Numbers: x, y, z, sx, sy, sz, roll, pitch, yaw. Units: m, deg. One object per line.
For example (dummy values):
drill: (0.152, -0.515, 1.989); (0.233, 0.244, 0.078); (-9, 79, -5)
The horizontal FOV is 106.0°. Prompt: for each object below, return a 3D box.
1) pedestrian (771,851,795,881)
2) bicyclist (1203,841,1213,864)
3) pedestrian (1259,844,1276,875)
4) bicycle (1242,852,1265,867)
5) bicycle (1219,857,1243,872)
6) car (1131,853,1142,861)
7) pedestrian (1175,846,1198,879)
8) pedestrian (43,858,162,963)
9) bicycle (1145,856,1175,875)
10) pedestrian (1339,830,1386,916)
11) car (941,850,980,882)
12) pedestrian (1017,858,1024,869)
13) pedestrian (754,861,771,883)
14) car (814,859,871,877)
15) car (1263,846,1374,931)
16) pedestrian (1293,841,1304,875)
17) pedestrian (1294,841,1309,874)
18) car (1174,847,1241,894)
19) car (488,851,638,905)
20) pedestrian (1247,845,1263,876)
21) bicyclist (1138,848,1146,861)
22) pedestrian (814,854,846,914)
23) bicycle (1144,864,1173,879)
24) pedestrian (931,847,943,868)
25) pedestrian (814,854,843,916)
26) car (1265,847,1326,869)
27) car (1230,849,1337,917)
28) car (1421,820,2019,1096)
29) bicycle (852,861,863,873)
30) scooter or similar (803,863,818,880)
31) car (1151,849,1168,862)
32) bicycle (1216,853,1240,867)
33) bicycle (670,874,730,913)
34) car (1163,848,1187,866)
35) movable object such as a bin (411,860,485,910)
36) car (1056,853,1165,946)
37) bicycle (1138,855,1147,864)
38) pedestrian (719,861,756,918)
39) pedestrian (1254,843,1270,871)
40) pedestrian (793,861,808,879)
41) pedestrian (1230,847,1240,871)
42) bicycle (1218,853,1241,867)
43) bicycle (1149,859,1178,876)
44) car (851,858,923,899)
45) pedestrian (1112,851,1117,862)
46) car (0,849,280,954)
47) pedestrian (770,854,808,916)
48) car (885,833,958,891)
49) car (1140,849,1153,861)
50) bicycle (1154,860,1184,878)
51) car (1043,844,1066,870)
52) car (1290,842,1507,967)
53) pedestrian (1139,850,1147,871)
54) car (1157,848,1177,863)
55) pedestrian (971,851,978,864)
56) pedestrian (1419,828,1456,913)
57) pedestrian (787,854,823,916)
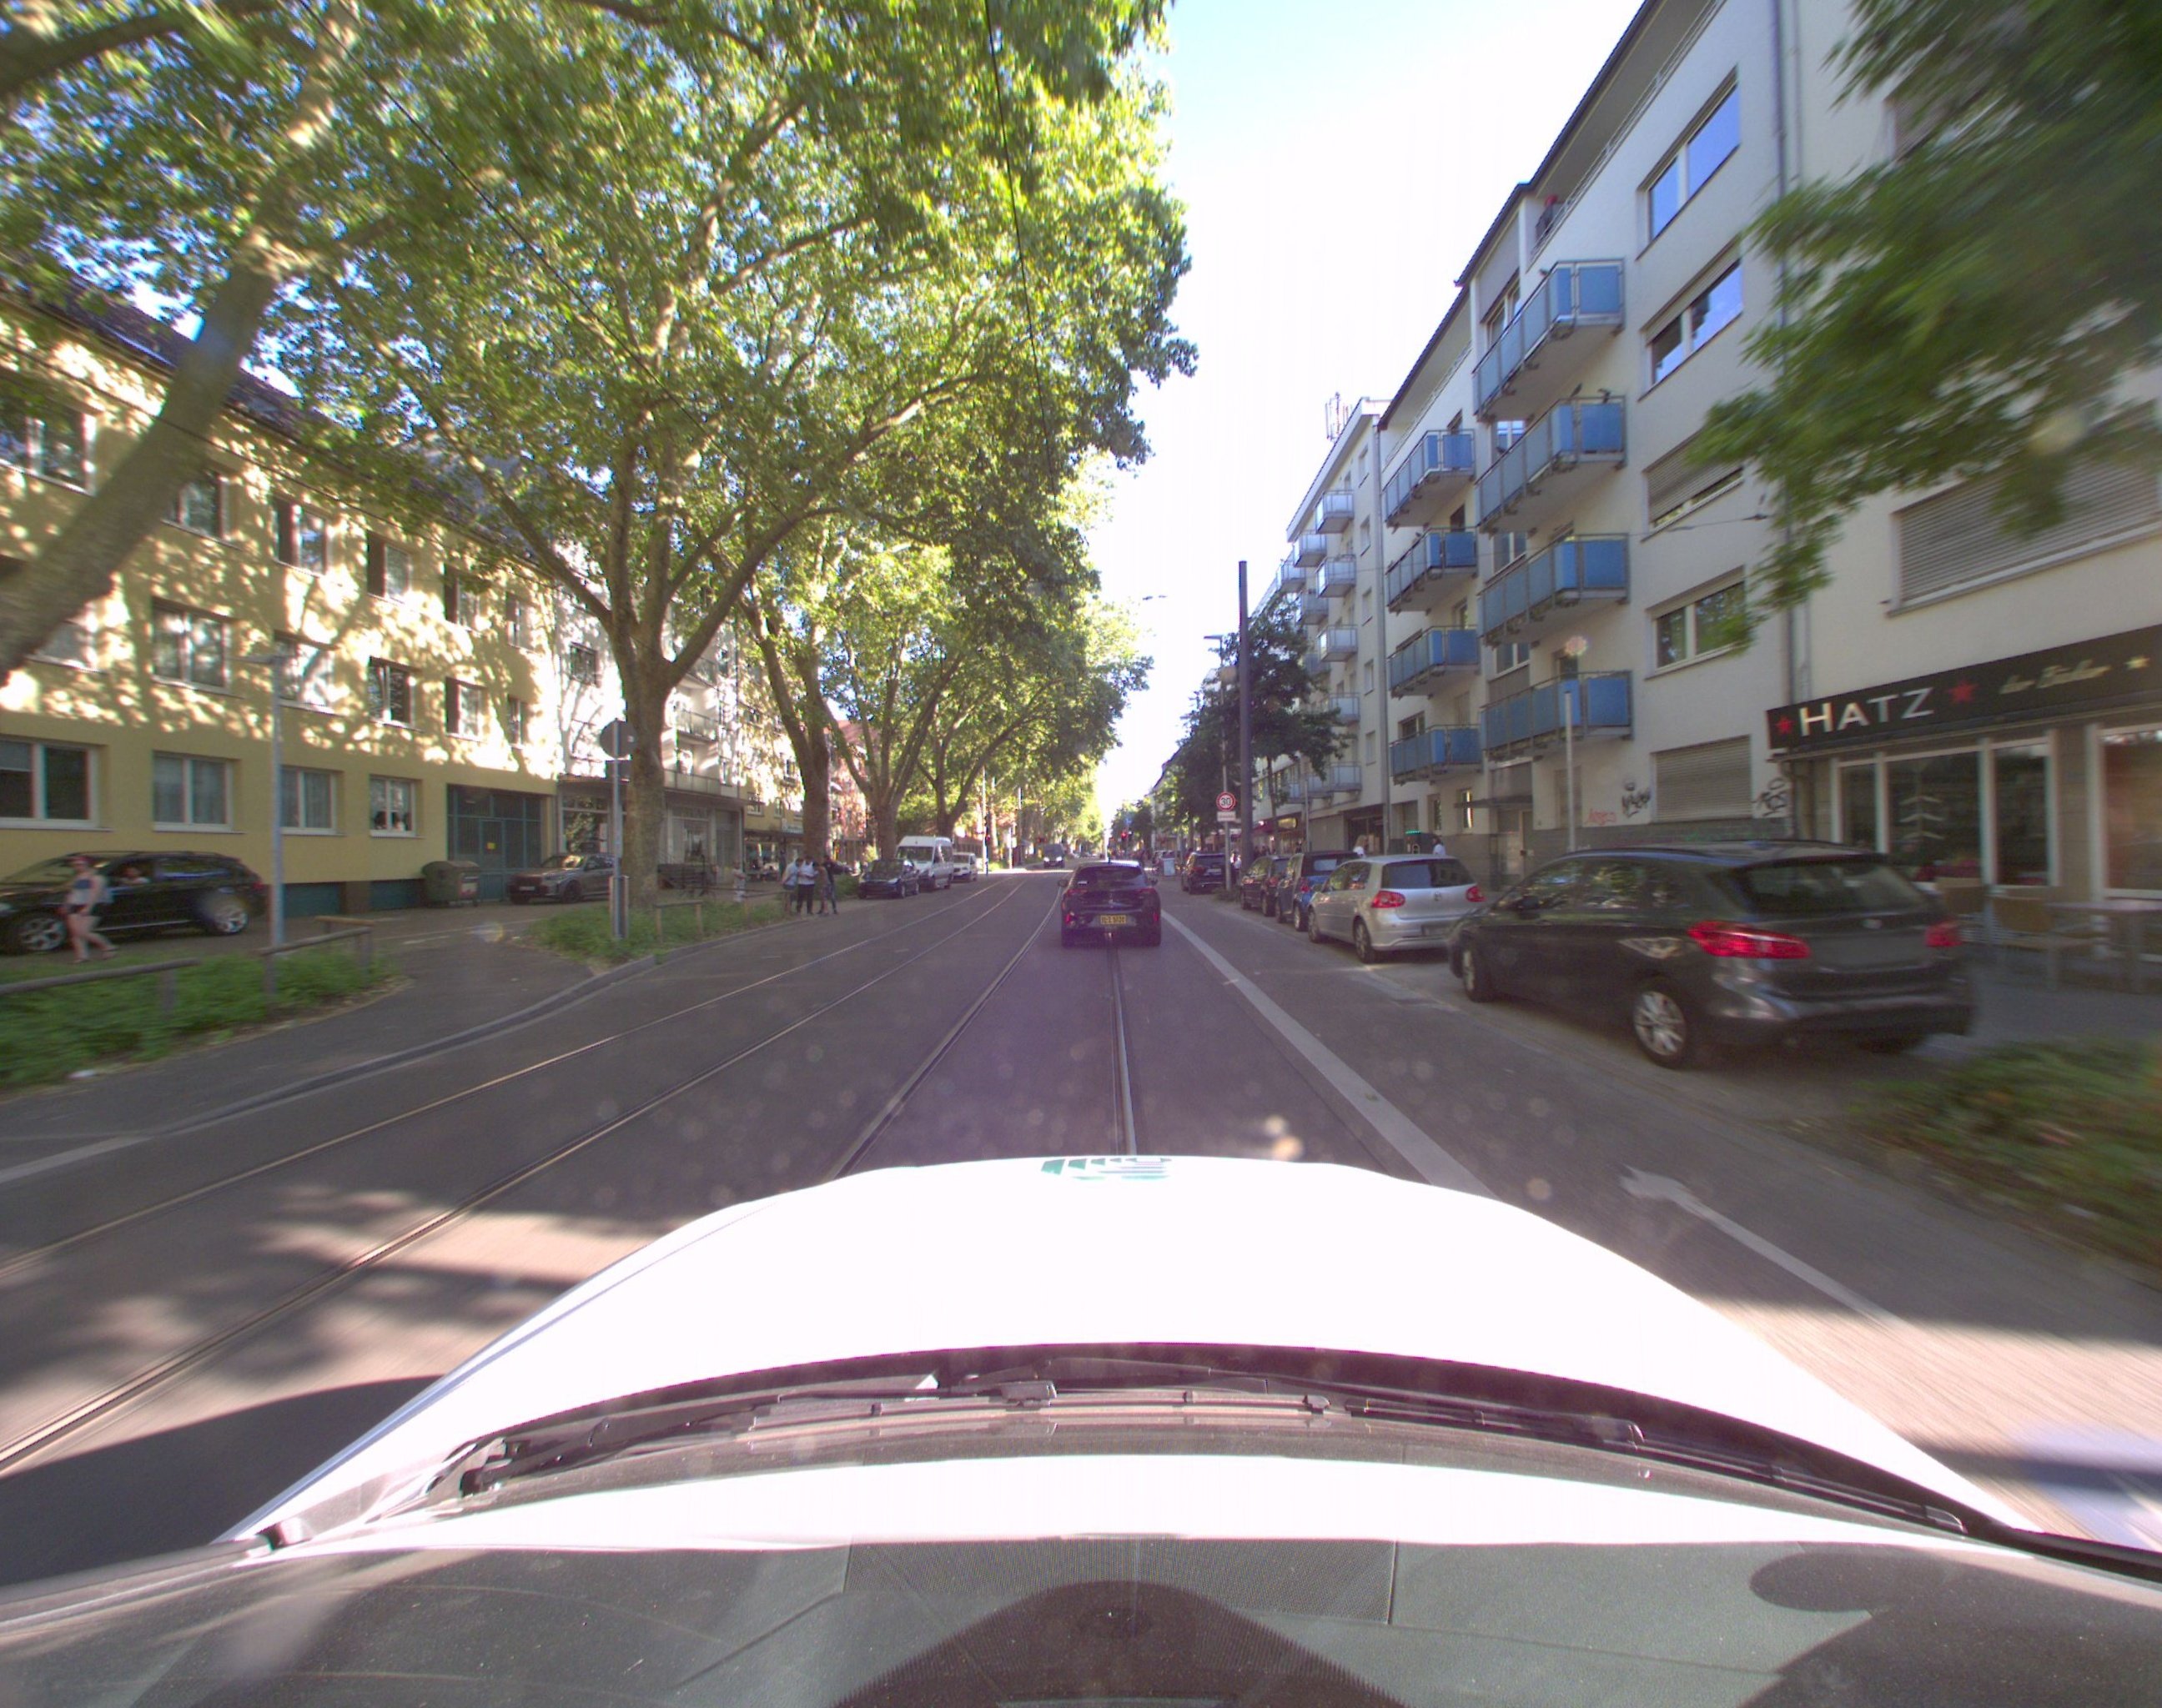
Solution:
pedestrian: (-18.581, 0.766, 50.847); (1.104, 1.864, 1.058); (0, -1, -2)
bicyclist: (9.840, -0.103, 63.165); (0.674, 1.717, 0.966); (0, -1, 3)
pedestrian: (10.248, 0.309, 44.776); (0.594, 1.678, 0.934); (-3, -1, -1)
bicycle: (15.071, 0.480, 71.238); (1.909, 1.207, 0.510); (-1, 1, -3)
bicycle: (13.034, 0.885, 70.827); (1.909, 1.207, 0.510); (-2, 1, -3)
car: (10.748, 0.665, 157.112); (1.986, 1.486, 4.001); (0, -1, 2)
pedestrian: (5.753, 0.447, 44.311); (1.044, 1.758, 0.876); (0, 0, -8)
pedestrian: (-15.948, 0.888, 13.301); (0.709, 1.638, 1.009); (0, -1, -2)
bicycle: (4.882, 0.693, 50.360); (1.809, 1.100, 0.525); (-1, -1, 0)
pedestrian: (6.329, 0.426, 18.312); (0.476, 1.851, 0.661); (-9, 0, -12)
car: (-7.327, 0.703, 49.918); (1.757, 1.851, 4.317); (0, -1, 0)
pedestrian: (-6.786, 1.038, 91.685); (0.703, 1.168, 0.659); (-2, -1, -2)
pedestrian: (-18.598, 1.036, 47.594); (0.667, 1.272, 0.648); (-1, -1, 24)
car: (-20.761, 1.195, 70.946); (4.426, 1.456, 1.995); (2, -1, -7)
car: (4.876, 0.658, 17.047); (1.439, 1.537, 2.881); (-3, 0, 1)
pedestrian: (11.661, 0.227, 43.698); (0.430, 1.796, 0.489); (0, -1, 0)
pedestrian: (12.148, 0.185, 44.915); (0.520, 1.805, 0.635); (-1, -1, 44)
car: (4.840, 0.610, 31.653); (1.754, 1.587, 4.327); (-5, 0, -1)
car: (-18.006, 0.802, 28.651); (1.986, 1.733, 4.900); (0, -1, 2)
pedestrian: (9.553, 0.362, 44.747); (0.640, 1.637, 0.869); (-3, 0, -1)
bicyclist: (8.083, 0.093, 107.515); (0.859, 1.759, 1.052); (0, -1, -5)
pedestrian: (-7.469, 0.886, 24.285); (0.709, 1.777, 0.771); (0, -1, 0)
bicycle: (5.013, 1.122, 52.411); (1.810, 0.994, 0.481); (0, -1, -2)
pedestrian: (-12.964, 0.284, 73.563); (0.921, 1.835, 0.919); (0, 2, -3)
pedestrian: (-7.291, 0.879, 23.471); (0.770, 1.735, 0.709); (0, -1, -19)
car: (17.029, 0.327, 64.689); (4.242, 1.592, 1.963); (-1, -2, -5)
car: (5.064, 0.677, 20.876); (1.618, 1.481, 3.887); (-4, 0, -1)
car: (4.828, 0.648, 7.130); (1.715, 1.571, 4.256); (-4, 0, -2)
bicycle: (-21.056, 1.211, 76.655); (0.539, 1.084, 1.639); (0, 1, 0)
scooter or similar: (-18.044, 1.174, 54.387); (0.636, 1.167, 0.679); (-1, -1, 27)
car: (9.979, 0.264, 104.082); (1.850, 1.615, 4.399); (0, -1, 2)
bicycle: (12.927, 0.531, 71.632); (1.909, 1.207, 0.510); (-2, 0, -3)
bicycle: (-11.001, 1.129, 23.511); (1.828, 1.080, 0.572); (-1, -1, 28)
car: (9.216, 0.310, 80.335); (1.986, 1.615, 4.446); (-1, -1, 2)
movable object such as a bin: (-19.588, 0.949, 25.236); (1.226, 1.502, 1.343); (0, -1, 0)
car: (0.468, 0.749, 15.027); (1.754, 1.508, 3.682); (0, -1, -1)
bicycle: (8.081, 0.714, 107.587); (0.859, 1.136, 2.392); (0, -1, -5)
pedestrian: (-10.055, 1.028, 23.851); (0.761, 1.610, 0.718); (-1, -1, 37)
pedestrian: (10.895, 0.174, 49.036); (0.678, 1.659, 0.810); (0, -1, -16)
pedestrian: (-18.843, 1.076, 54.716); (0.636, 1.167, 0.679); (-1, -1, 27)
pedestrian: (11.456, 0.366, 60.596); (0.588, 1.784, 0.995); (0, -1, 0)
bicycle: (12.936, 0.530, 71.098); (1.909, 1.207, 0.510); (-2, 1, -3)
bicycle: (5.225, 0.855, 51.548); (1.813, 1.100, 0.496); (0, -1, -7)
car: (-7.844, 0.939, 33.340); (1.910, 1.562, 4.284); (0, -1, 0)
pedestrian: (4.863, 0.305, 117.764); (0.628, 1.576, 0.871); (1, 0, 1)
car: (-18.695, 0.810, 15.539); (1.985, 1.736, 4.699); (0, -1, 3)
pedestrian: (-8.297, 0.884, 23.185); (0.764, 1.735, 0.718); (0, -1, 6)
car: (-7.578, 0.384, 39.306); (2.099, 2.577, 6.027); (0, -1, 2)
car: (11.077, 0.140, 138.061); (1.987, 1.952, 4.000); (0, -1, 1)
bicycle: (5.496, 0.921, 51.043); (1.813, 1.100, 0.480); (0, -1, -7)
car: (-2.910, 0.365, 89.937); (2.106, 2.738, 6.116); (-2, -1, 1)
car: (4.734, 0.664, 12.844); (1.780, 1.537, 4.128); (-4, 0, 1)
pedestrian: (4.821, 0.500, 63.147); (0.548, 1.562, 0.646); (0, -2, 5)
car: (9.204, 0.188, 87.748); (1.793, 1.606, 4.416); (0, -1, 2)
pedestrian: (-13.891, 0.486, 106.497); (0.732, 1.672, 0.861); (0, -1, 1)
pedestrian: (7.972, 0.355, 18.197); (0.533, 1.852, 0.668); (-1, -1, 45)
pedestrian: (-8.034, 0.886, 23.677); (0.761, 1.735, 0.718); (-1, -1, 42)
